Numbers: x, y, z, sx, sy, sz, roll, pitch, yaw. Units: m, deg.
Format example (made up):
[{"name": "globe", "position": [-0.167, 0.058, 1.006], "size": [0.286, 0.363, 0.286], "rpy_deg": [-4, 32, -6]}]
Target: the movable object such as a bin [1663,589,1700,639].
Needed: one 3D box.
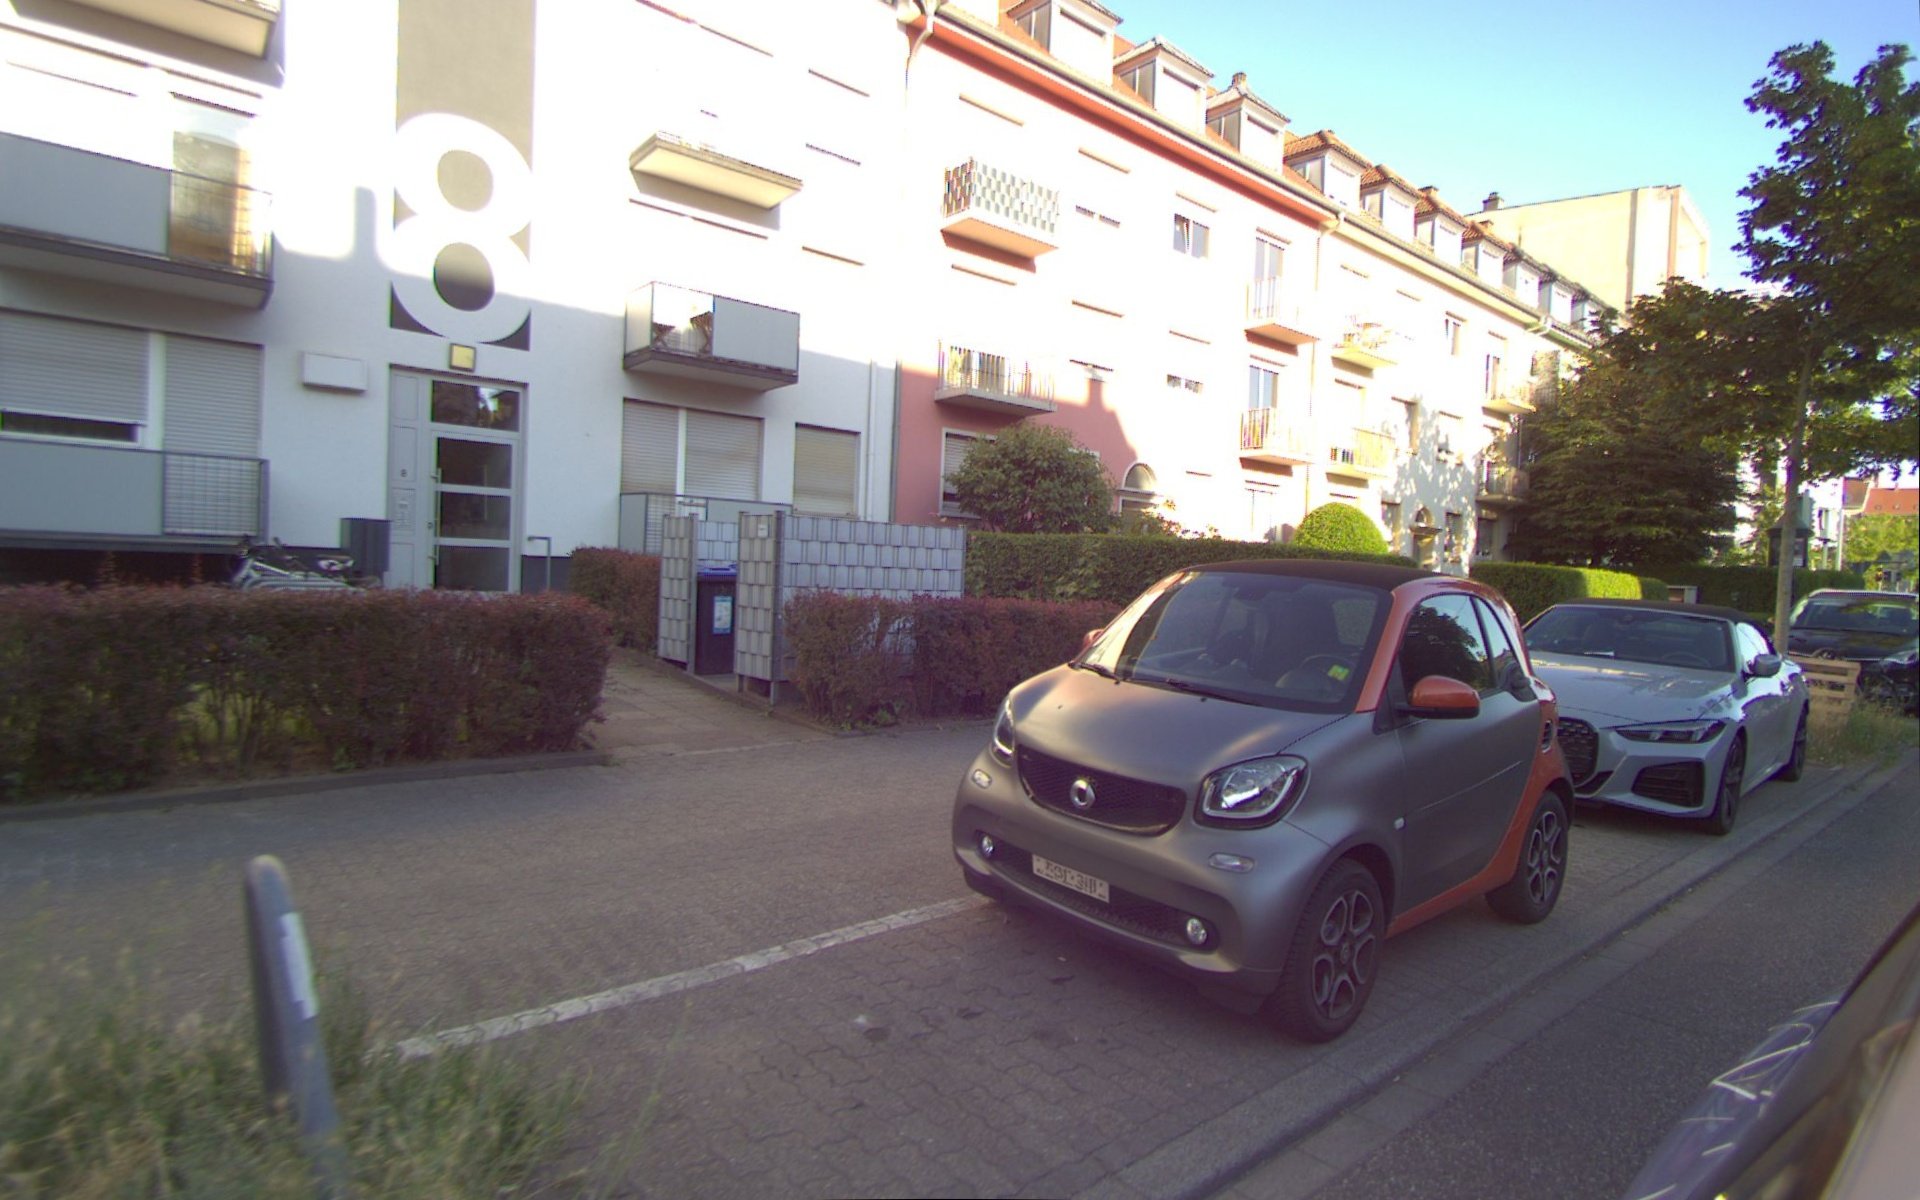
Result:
[{"name": "movable object such as a bin", "position": [18.565, 0.355, 26.046], "size": [0.814, 1.255, 0.554], "rpy_deg": [1, 2, -40]}]

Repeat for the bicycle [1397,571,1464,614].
[{"name": "bicycle", "position": [12.407, -0.216, 26.693], "size": [0.419, 1.069, 1.522], "rpy_deg": [1, 1, -44]}]

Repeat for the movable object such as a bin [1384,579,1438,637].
[{"name": "movable object such as a bin", "position": [8.182, 0.143, 18.366], "size": [0.782, 1.015, 0.583], "rpy_deg": [1, 2, -41]}]

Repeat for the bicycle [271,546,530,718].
[{"name": "bicycle", "position": [-3.926, 0.205, 7.169], "size": [1.517, 1.102, 0.493], "rpy_deg": [1, 2, -41]}]

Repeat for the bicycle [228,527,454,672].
[{"name": "bicycle", "position": [-5.096, -0.004, 8.385], "size": [1.517, 1.102, 0.493], "rpy_deg": [1, 2, -41]}]

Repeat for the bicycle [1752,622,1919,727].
[{"name": "bicycle", "position": [10.291, 0.848, 11.910], "size": [1.474, 1.072, 0.406], "rpy_deg": [3, 2, 38]}]

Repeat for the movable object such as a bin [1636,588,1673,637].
[{"name": "movable object such as a bin", "position": [18.211, 0.316, 26.550], "size": [0.814, 1.236, 0.554], "rpy_deg": [1, 2, -40]}]

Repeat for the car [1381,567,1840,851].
[{"name": "car", "position": [5.256, 0.597, 7.854], "size": [4.666, 1.504, 1.922], "rpy_deg": [1, 2, -44]}]

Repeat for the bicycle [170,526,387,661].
[{"name": "bicycle", "position": [-5.965, -0.056, 8.905], "size": [1.517, 1.102, 0.493], "rpy_deg": [1, 2, -41]}]

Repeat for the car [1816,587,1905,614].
[{"name": "car", "position": [55.033, 0.026, 61.877], "size": [1.803, 1.478, 3.894], "rpy_deg": [1, 2, -44]}]

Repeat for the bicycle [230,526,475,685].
[{"name": "bicycle", "position": [-4.591, 0.037, 7.706], "size": [1.517, 1.102, 0.493], "rpy_deg": [1, 2, -41]}]

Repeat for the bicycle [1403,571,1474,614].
[{"name": "bicycle", "position": [12.865, -0.211, 27.259], "size": [0.419, 1.069, 1.649], "rpy_deg": [1, 1, -44]}]

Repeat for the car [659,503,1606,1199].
[{"name": "car", "position": [0.941, 0.572, 4.020], "size": [3.693, 1.662, 1.776], "rpy_deg": [0, 3, -42]}]

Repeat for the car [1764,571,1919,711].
[{"name": "car", "position": [12.990, 0.517, 14.290], "size": [4.215, 1.671, 1.736], "rpy_deg": [1, 2, -40]}]

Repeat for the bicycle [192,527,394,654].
[{"name": "bicycle", "position": [-6.230, -0.085, 9.496], "size": [1.517, 1.102, 0.493], "rpy_deg": [1, 2, -41]}]

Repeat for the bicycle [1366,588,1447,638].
[{"name": "bicycle", "position": [8.458, 0.232, 19.227], "size": [0.358, 0.864, 1.363], "rpy_deg": [1, 2, -39]}]
